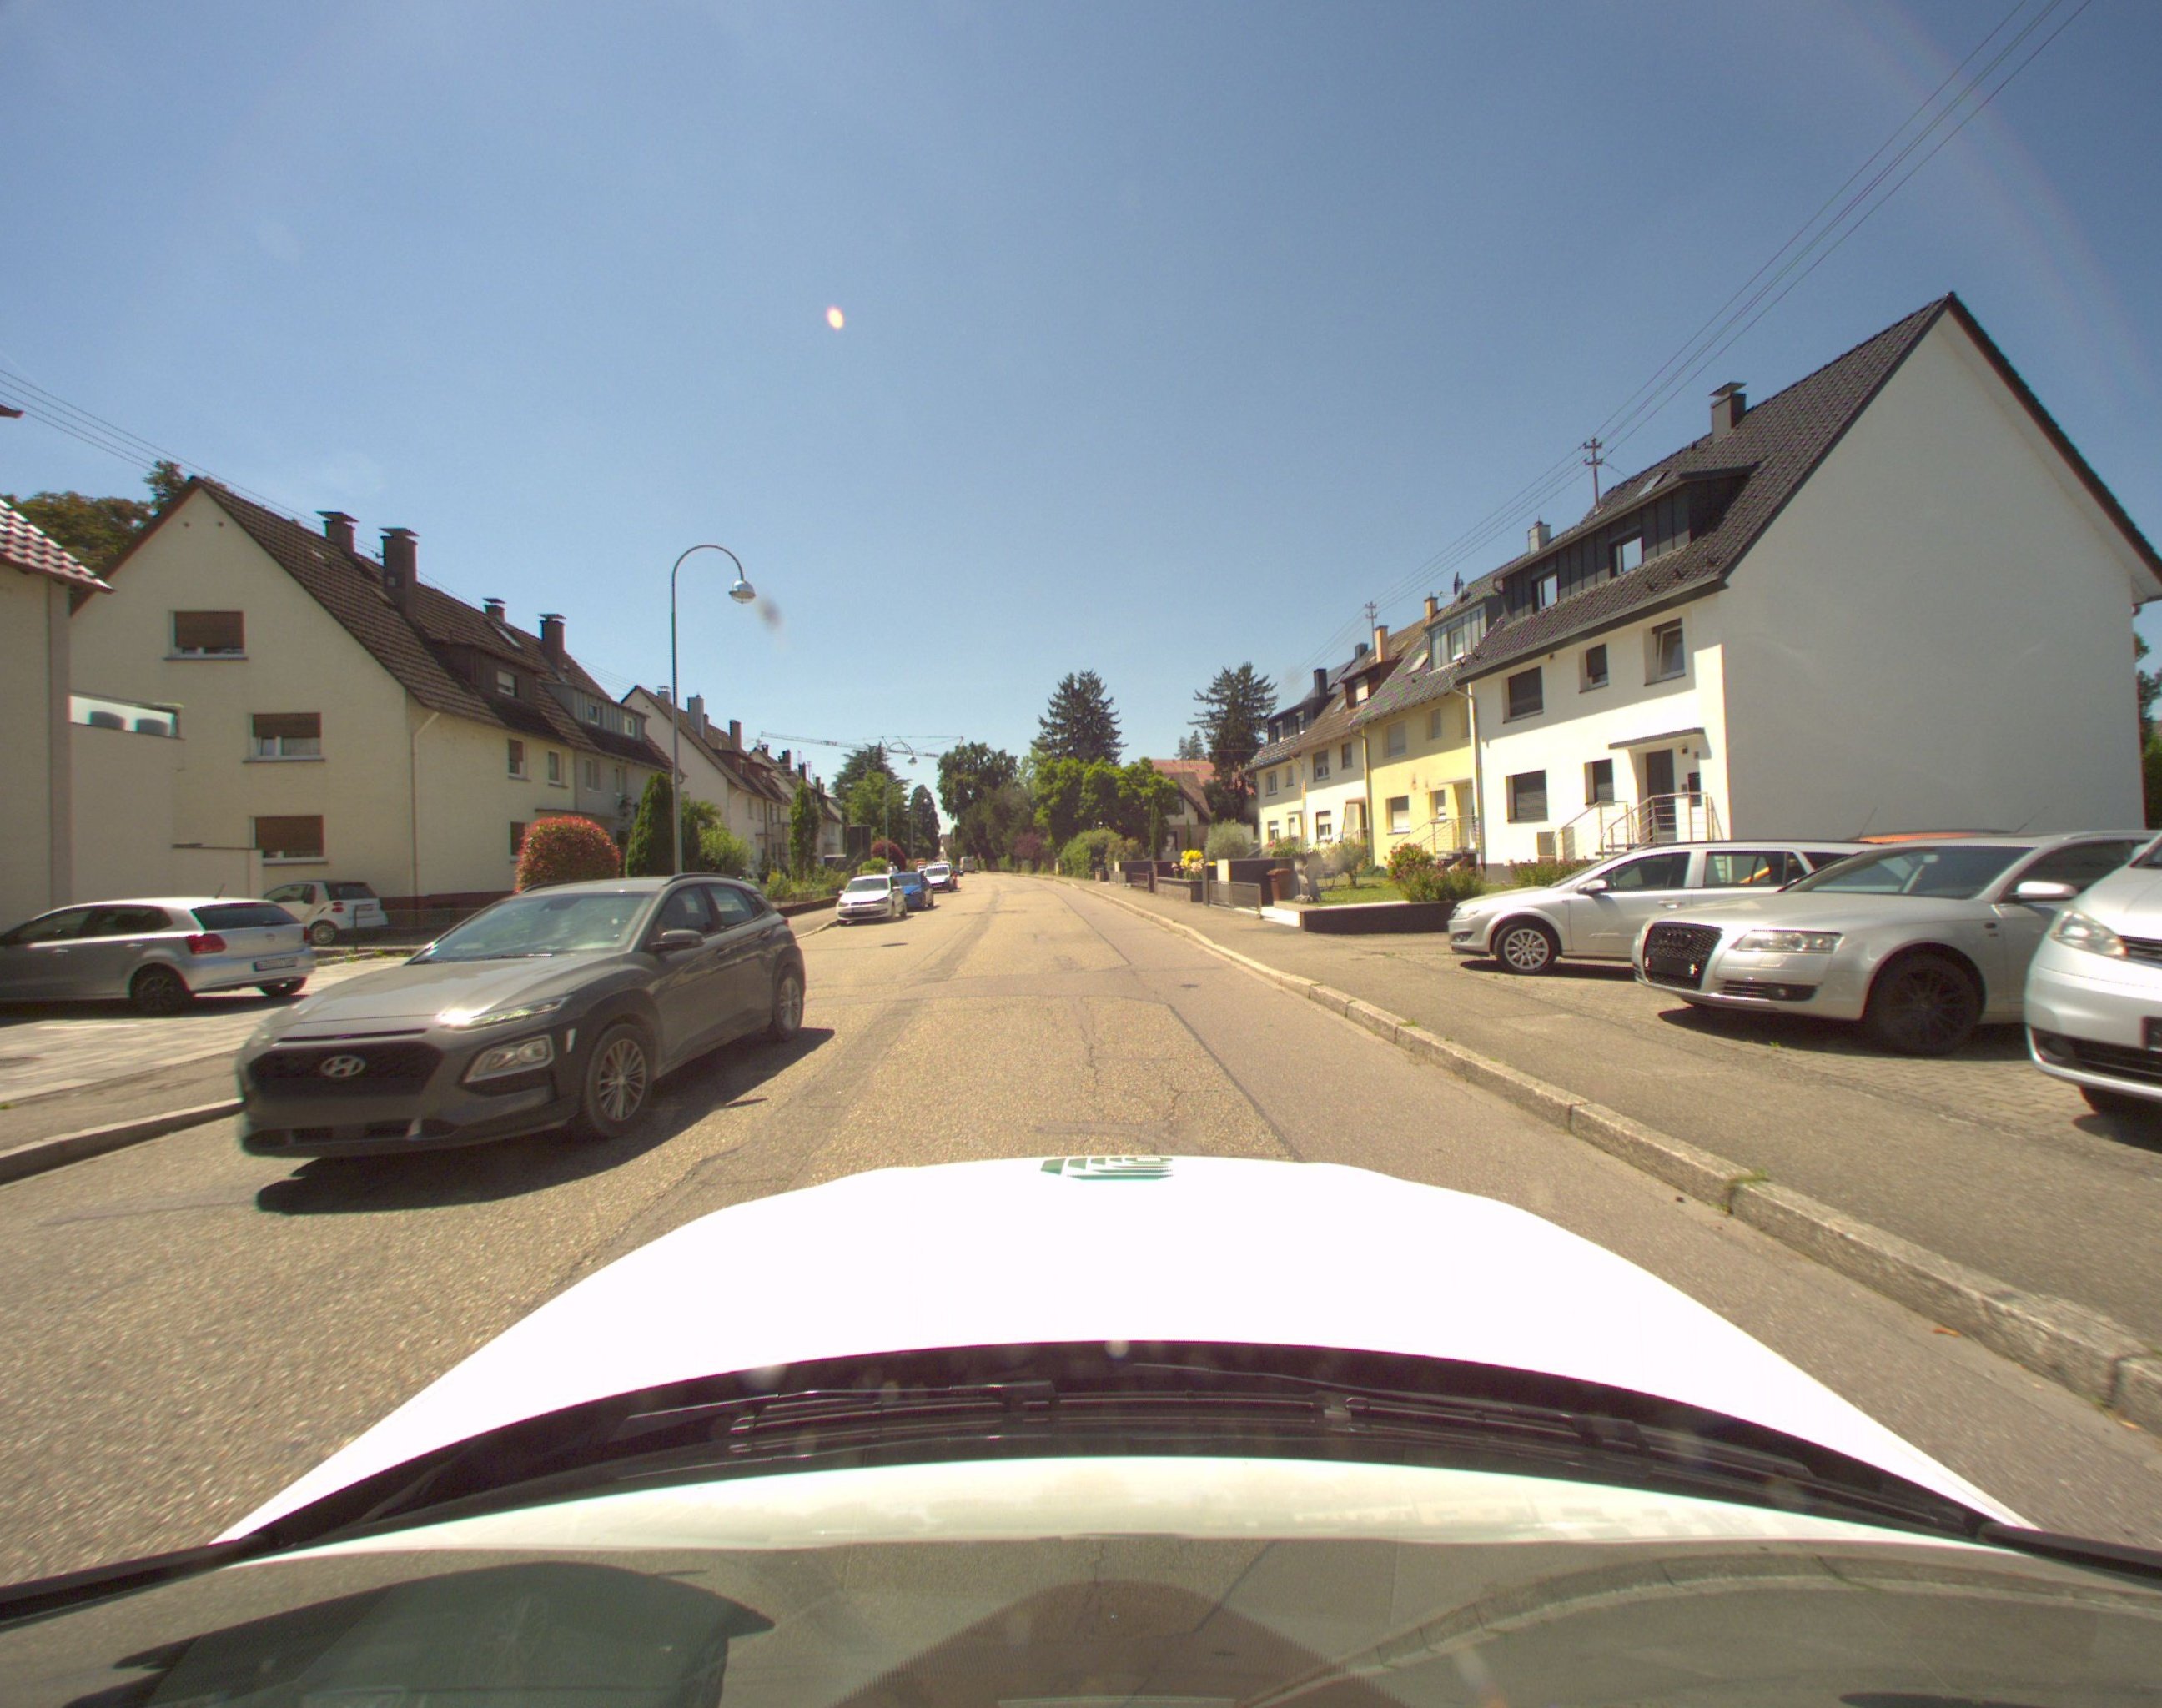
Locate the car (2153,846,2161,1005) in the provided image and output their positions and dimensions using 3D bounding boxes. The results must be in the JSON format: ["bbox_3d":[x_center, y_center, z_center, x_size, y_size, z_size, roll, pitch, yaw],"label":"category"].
[{"bbox_3d":[11.923,0.627,6.405,3.965,1.486,2.004,-1,-2,7],"label":"car"}]

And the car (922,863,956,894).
[{"bbox_3d":[-8.824,1.514,50.801,1.721,1.736,3.878,-4,0,-6],"label":"car"}]

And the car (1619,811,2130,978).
[{"bbox_3d":[9.393,0.449,10.125,4.251,1.642,1.648,-1,-3,45],"label":"car"}]

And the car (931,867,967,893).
[{"bbox_3d":[-9.028,1.753,55.862,1.755,1.477,4.056,-4,0,-1],"label":"car"}]

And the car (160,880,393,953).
[{"bbox_3d":[-19.373,1.463,19.767,3.779,1.536,1.644,-1,0,-6],"label":"car"}]

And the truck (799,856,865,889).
[{"bbox_3d":[-15.974,1.181,52.405,3.766,1.938,1.542,-3,0,-8],"label":"truck"}]

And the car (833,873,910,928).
[{"bbox_3d":[-6.541,1.400,25.806,1.575,1.423,3.935,-4,0,-4],"label":"car"}]

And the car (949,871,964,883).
[{"bbox_3d":[-16.331,3.004,106.790,1.731,1.417,3.988,-4,-1,-9],"label":"car"}]

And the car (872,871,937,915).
[{"bbox_3d":[-6.740,1.438,31.572,1.766,1.439,4.355,-4,0,-4],"label":"car"}]

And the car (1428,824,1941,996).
[{"bbox_3d":[6.305,0.544,9.140,4.249,1.548,1.767,0,-2,29],"label":"car"}]

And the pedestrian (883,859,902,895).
[{"bbox_3d":[-10.324,1.260,44.676,0.687,1.890,1.018,3,-2,-1],"label":"pedestrian"}]

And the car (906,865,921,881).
[{"bbox_3d":[-19.586,2.237,95.189,1.649,1.752,4.335,-3,0,-13],"label":"car"}]

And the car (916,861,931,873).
[{"bbox_3d":[-25.317,2.129,130.892,1.855,1.671,4.686,-4,0,-16],"label":"car"}]

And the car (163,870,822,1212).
[{"bbox_3d":[-3.538,0.953,6.046,1.734,1.505,4.143,-4,-1,1],"label":"car"}]

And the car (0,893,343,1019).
[{"bbox_3d":[-13.005,1.319,10.960,4.453,1.441,1.847,-1,-1,0],"label":"car"}]

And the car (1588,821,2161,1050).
[{"bbox_3d":[6.605,0.544,6.065,4.627,1.409,1.768,1,-1,-2],"label":"car"}]

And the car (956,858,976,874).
[{"bbox_3d":[-17.778,1.905,125.795,2.149,2.315,4.824,-4,0,-17],"label":"car"}]

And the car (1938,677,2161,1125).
[{"bbox_3d":[6.543,0.224,3.635,4.291,1.831,1.733,1,-1,-11],"label":"car"}]
